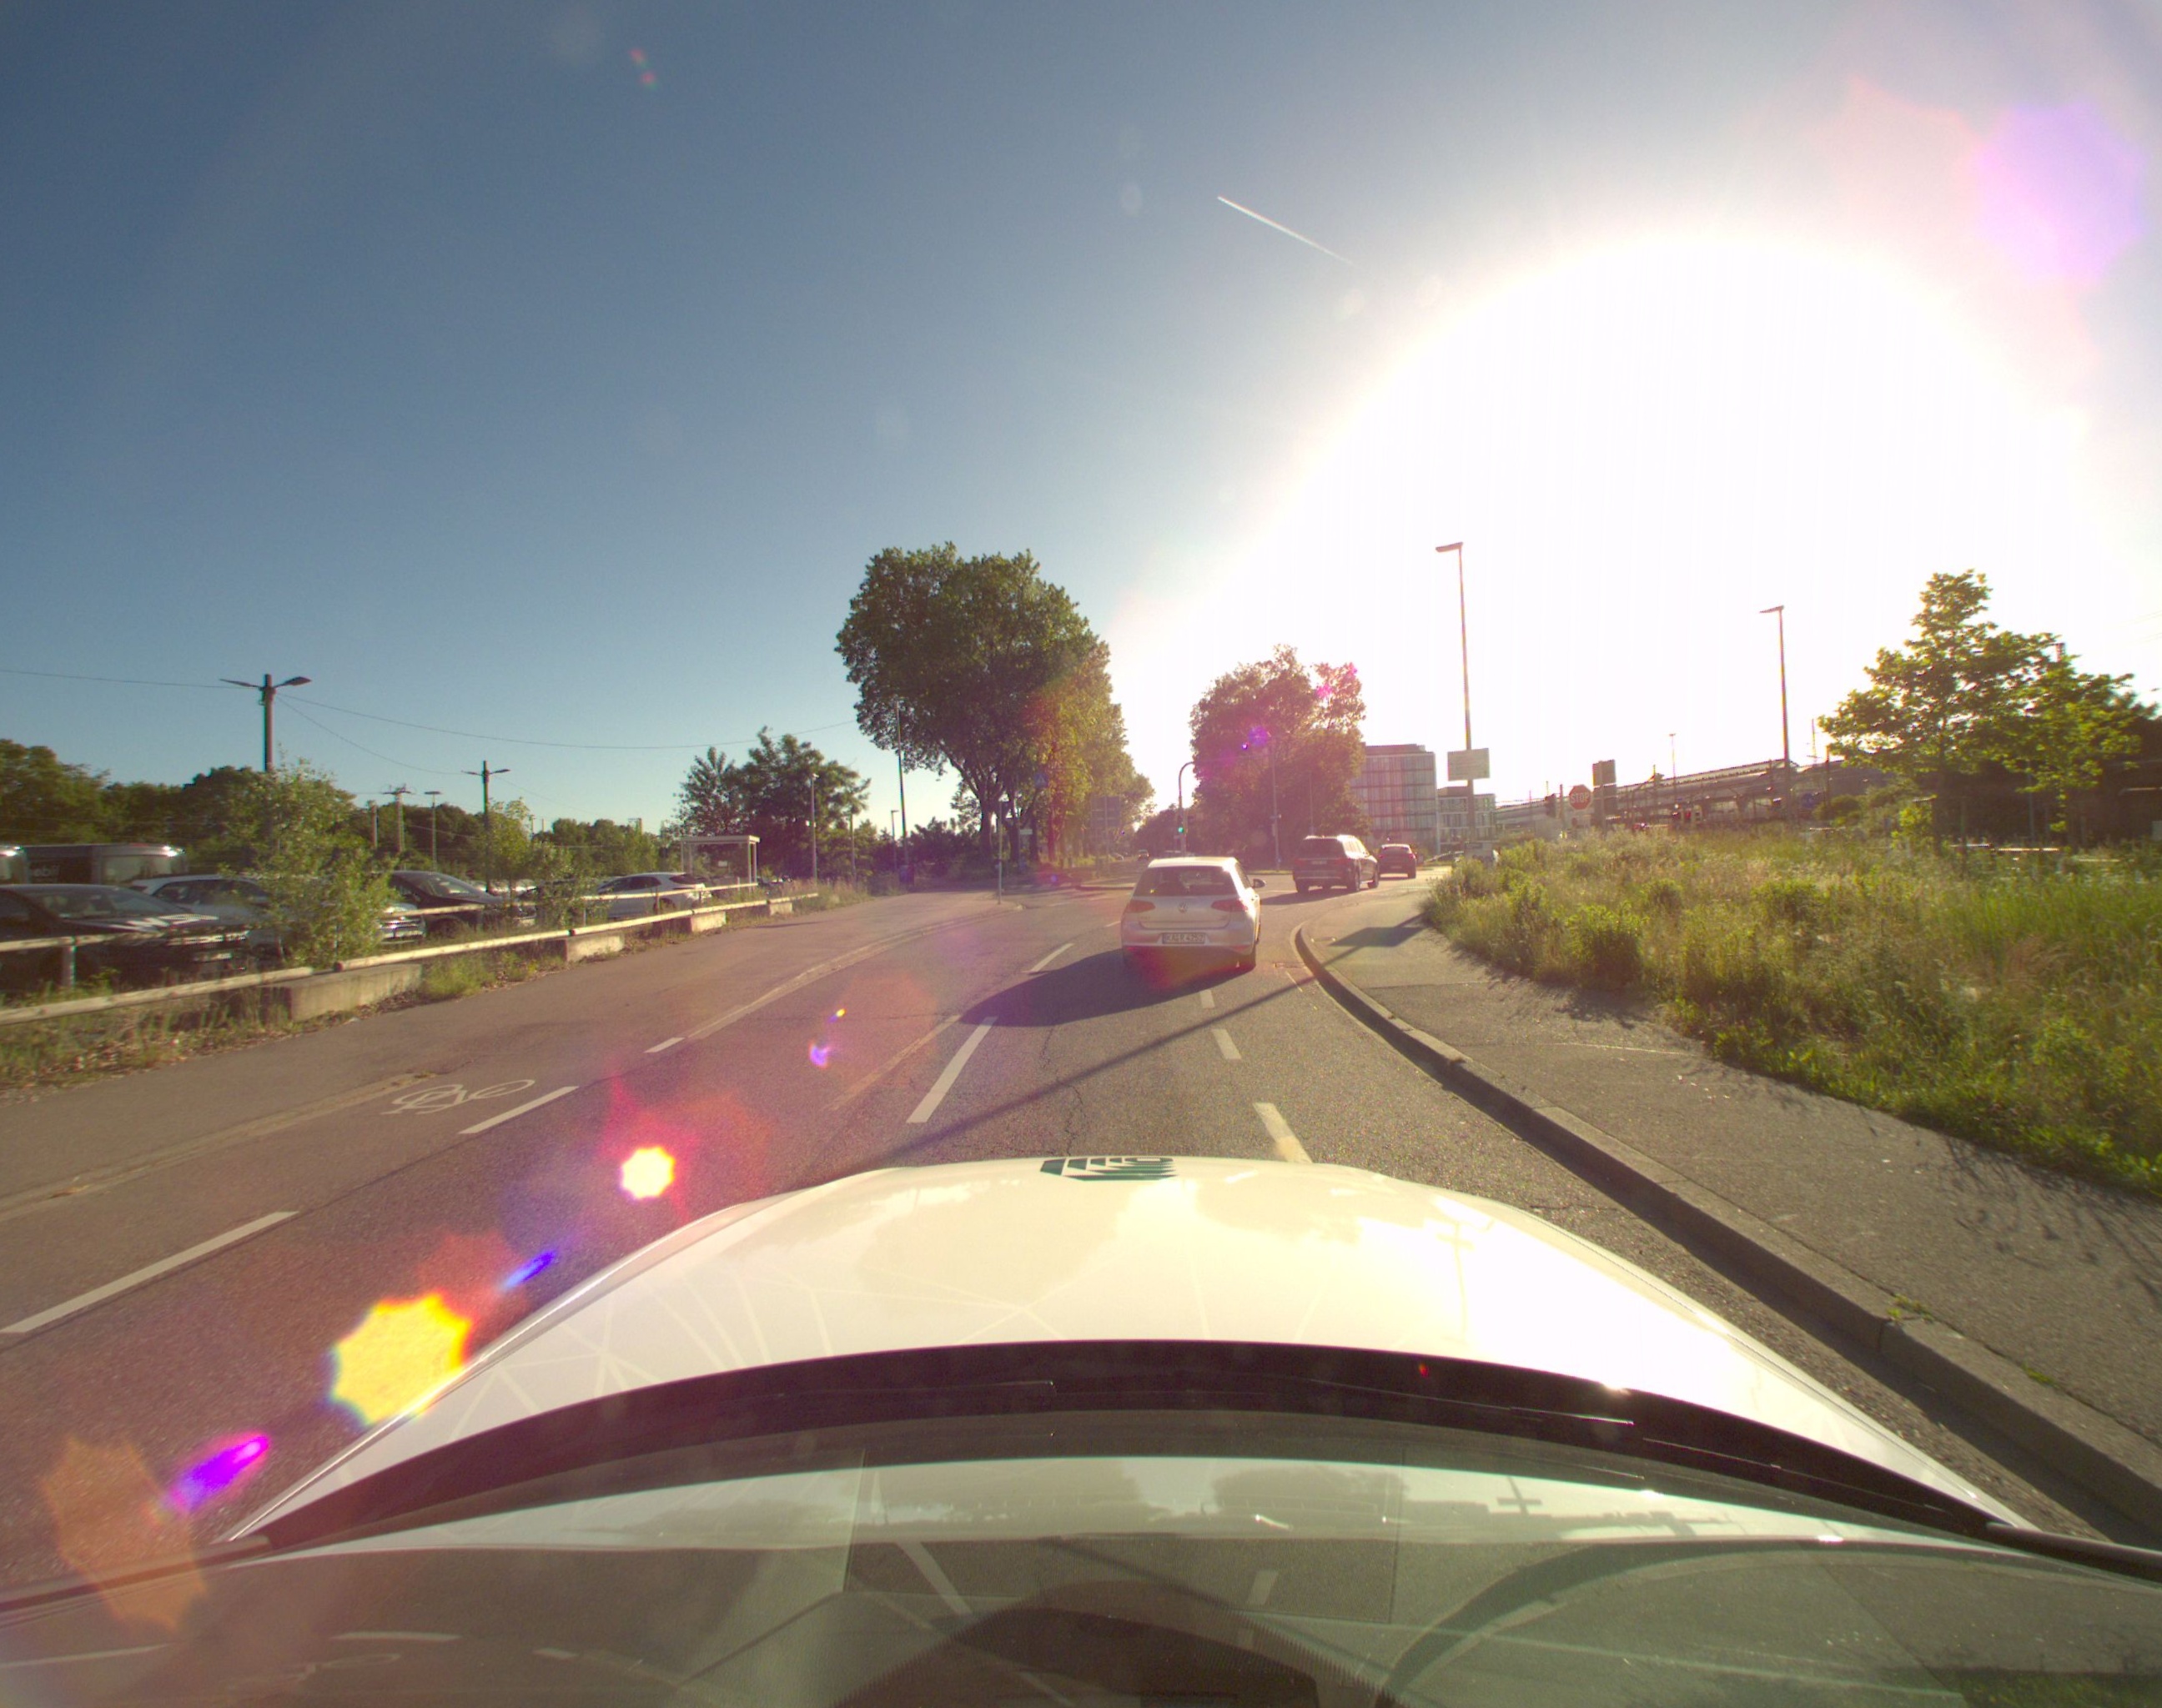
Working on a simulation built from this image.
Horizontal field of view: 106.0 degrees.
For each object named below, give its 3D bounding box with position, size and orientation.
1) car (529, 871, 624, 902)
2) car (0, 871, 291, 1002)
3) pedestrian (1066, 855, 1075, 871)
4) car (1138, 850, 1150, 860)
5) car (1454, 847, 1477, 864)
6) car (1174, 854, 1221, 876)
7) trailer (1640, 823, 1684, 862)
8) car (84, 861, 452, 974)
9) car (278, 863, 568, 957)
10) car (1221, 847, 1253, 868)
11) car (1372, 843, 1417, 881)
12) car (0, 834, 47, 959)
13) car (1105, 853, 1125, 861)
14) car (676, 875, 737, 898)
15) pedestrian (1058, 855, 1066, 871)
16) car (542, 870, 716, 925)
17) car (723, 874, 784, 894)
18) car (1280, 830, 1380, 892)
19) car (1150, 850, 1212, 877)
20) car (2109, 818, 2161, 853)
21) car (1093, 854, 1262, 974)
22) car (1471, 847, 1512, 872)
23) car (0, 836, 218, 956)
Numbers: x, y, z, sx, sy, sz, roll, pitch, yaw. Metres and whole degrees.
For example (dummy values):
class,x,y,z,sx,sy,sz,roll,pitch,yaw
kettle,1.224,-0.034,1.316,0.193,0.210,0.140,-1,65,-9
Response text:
class,x,y,z,sx,sy,sz,roll,pitch,yaw
car,-33.067,2.148,53.464,4.981,1.838,2.205,-2,0,8
car,-13.415,1.058,10.843,3.971,1.515,1.857,-2,0,2
pedestrian,-1.011,0.870,81.128,0.724,1.592,0.806,-1,-1,7
car,11.378,0.253,147.873,1.847,1.743,4.266,-1,0,0
car,34.476,0.135,73.009,1.731,1.476,4.024,-2,0,27
car,8.105,0.773,57.037,1.906,1.427,3.917,-1,-1,-14
trailer,51.175,-0.942,71.908,2.966,3.292,6.710,-1,-1,34
car,-13.269,0.980,13.528,4.035,1.610,1.884,-2,-1,-4
car,-12.886,1.049,16.184,4.122,1.654,1.871,-1,0,-4
car,13.237,0.294,69.388,1.848,1.743,4.265,-1,0,0
car,15.245,0.370,39.710,1.926,1.713,4.222,-2,0,20
car,-23.649,0.897,15.763,4.453,2.467,2.128,-2,-1,-1
car,6.985,0.644,167.407,1.867,1.599,4.278,-1,-1,-35
car,-31.448,2.725,68.449,4.125,1.706,1.980,-1,-1,3
pedestrian,-1.880,0.874,81.512,0.660,1.586,0.632,-1,-1,7
car,-13.763,1.305,24.991,4.245,1.511,1.892,-1,-1,0
car,-31.159,2.840,77.550,4.923,1.764,2.002,-1,-1,3
car,8.486,0.246,27.440,2.092,1.887,4.842,-2,-1,30
car,6.170,0.599,50.718,1.924,1.636,4.086,0,-1,-26
car,51.268,-0.862,37.790,4.351,1.518,1.959,-1,-1,5
car,1.575,0.741,11.825,1.956,1.427,3.951,-1,0,13
car,25.531,0.309,50.630,1.731,1.476,4.026,-2,-1,34
car,-23.805,0.949,18.624,5.477,2.517,2.401,-2,-1,-1
